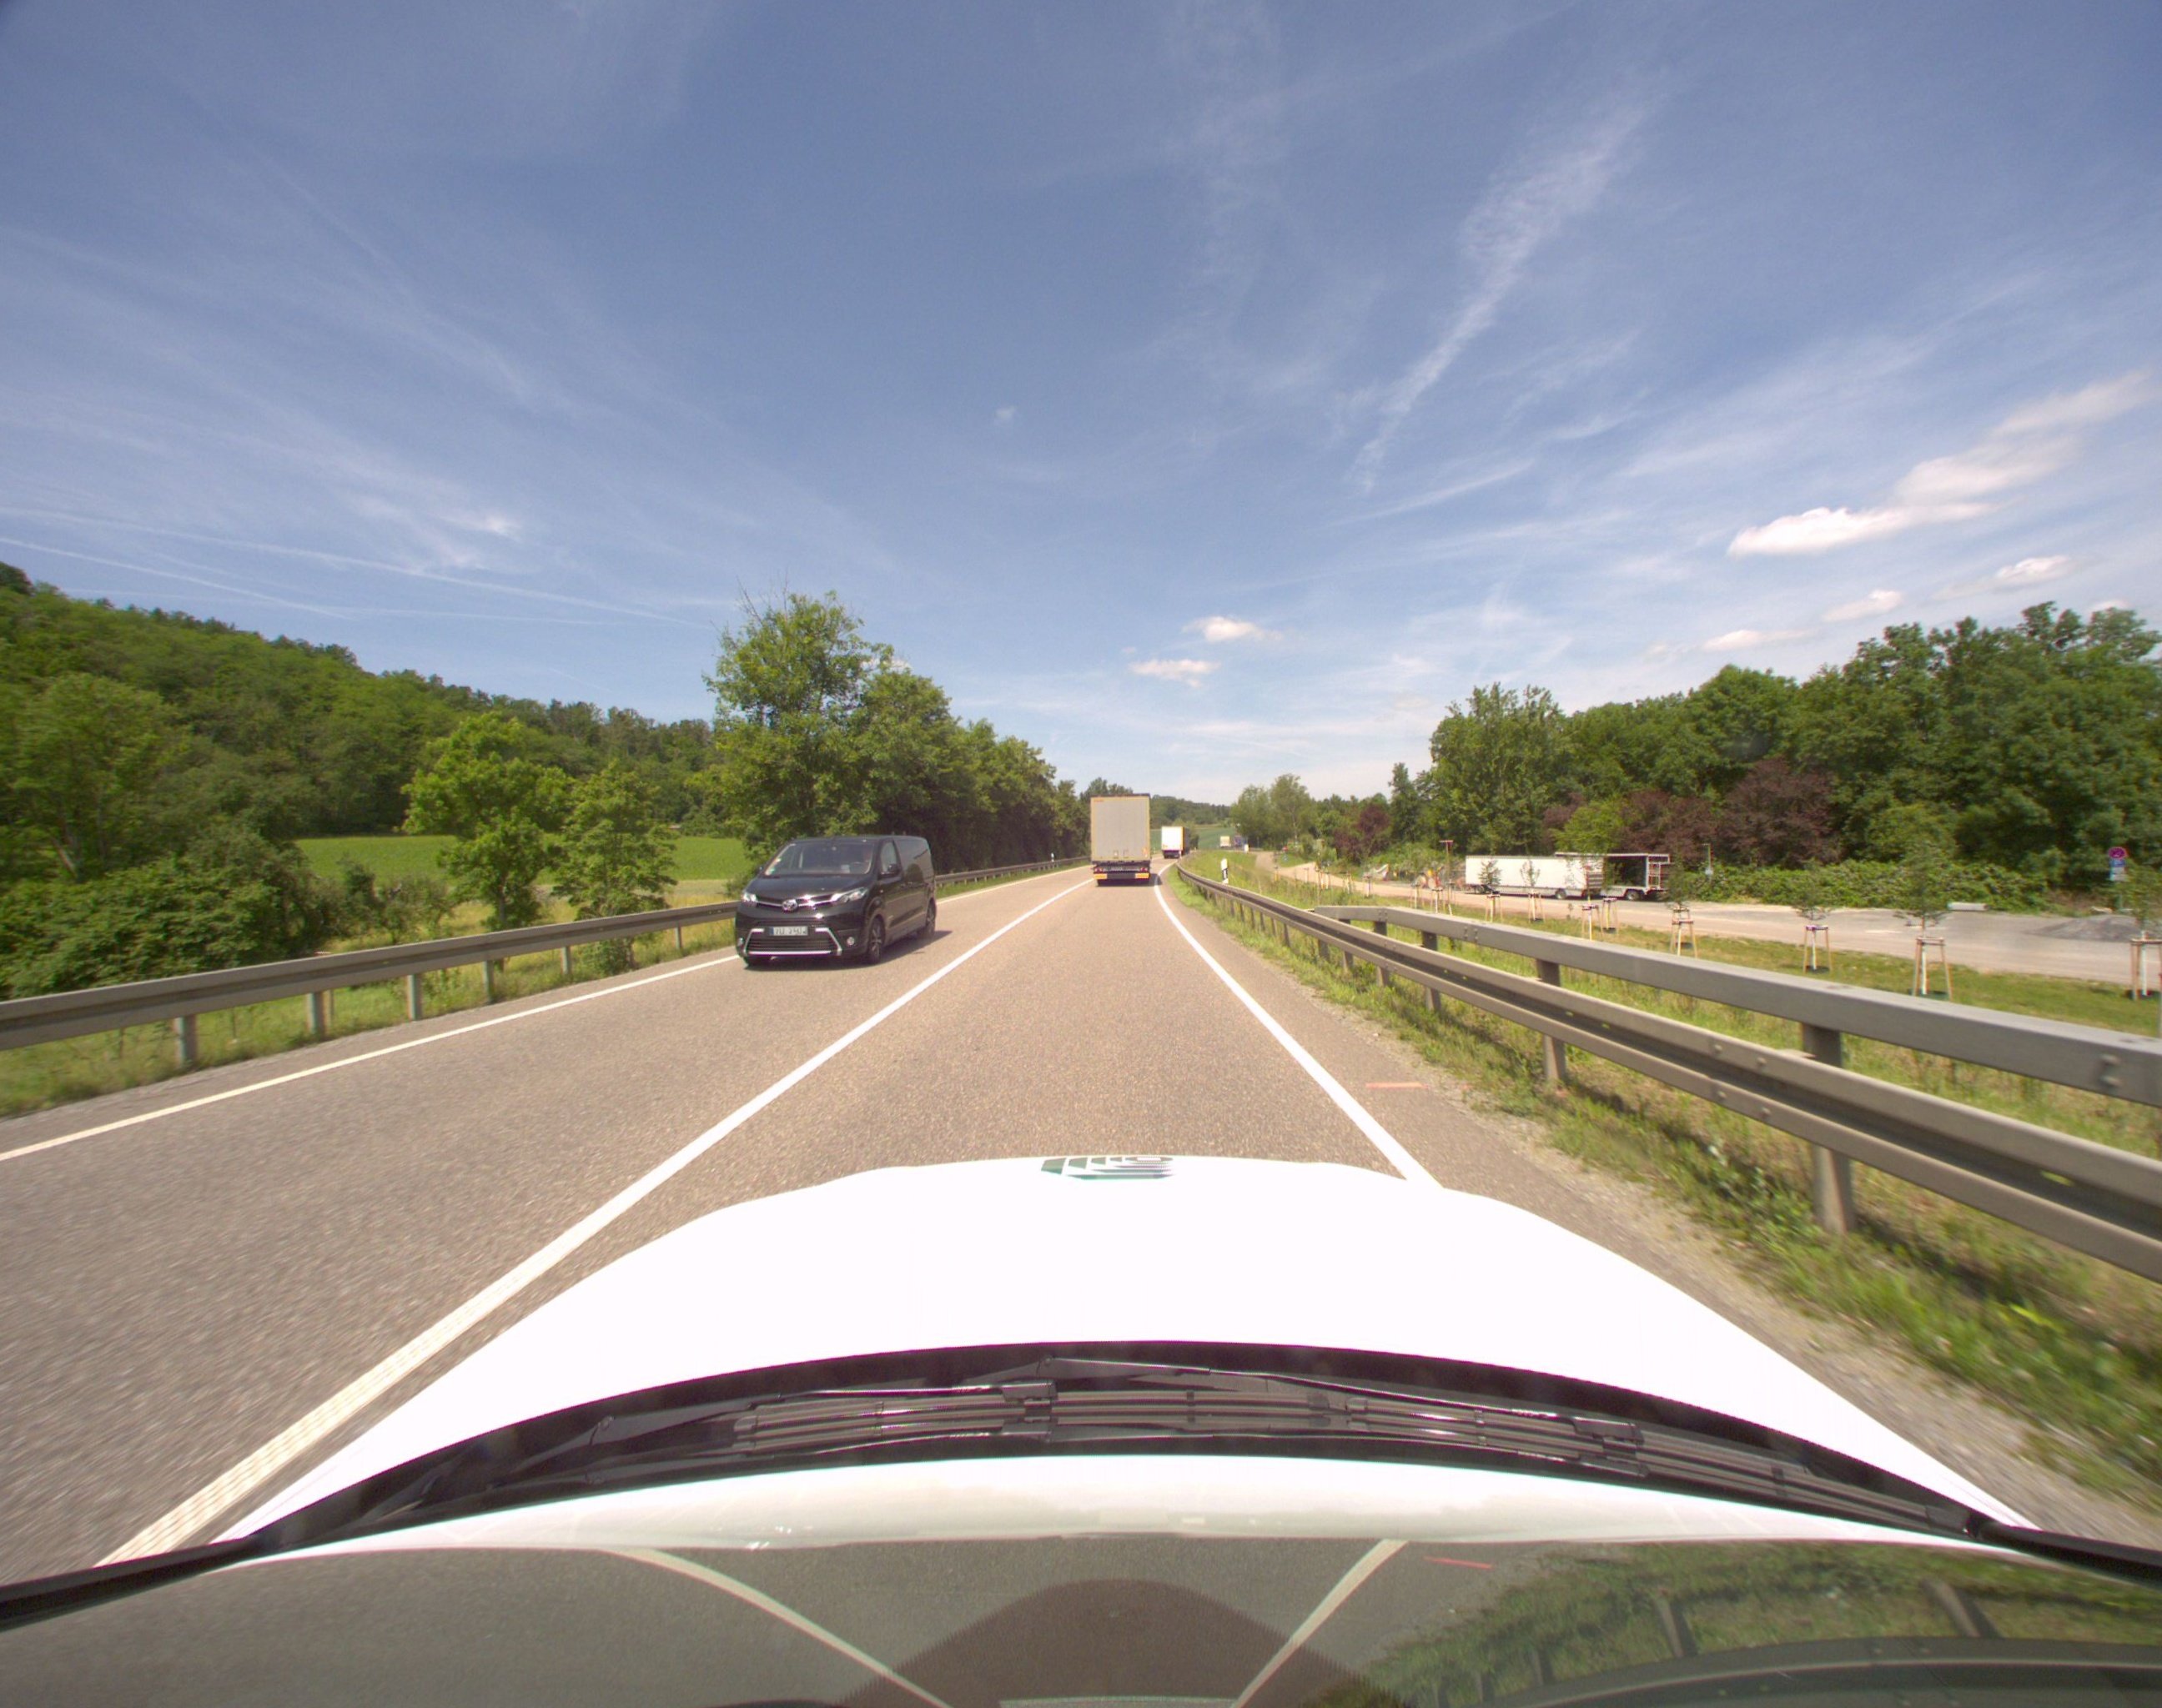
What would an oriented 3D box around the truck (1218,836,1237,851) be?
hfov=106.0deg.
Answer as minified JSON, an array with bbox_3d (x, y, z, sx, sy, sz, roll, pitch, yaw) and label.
[{"bbox_3d":[33.471,-2.356,186.046,3.199,3.365,11.922,-1,0,15],"label":"truck"}]

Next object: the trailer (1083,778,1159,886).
[{"bbox_3d":[2.173,-0.991,41.272,3.104,4.499,13.902,-1,1,4],"label":"trailer"}]

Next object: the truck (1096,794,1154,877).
[{"bbox_3d":[2.685,-1.051,47.939,3.104,4.494,6.820,-1,1,5],"label":"truck"}]

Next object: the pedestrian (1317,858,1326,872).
[{"bbox_3d":[33.140,1.506,112.340,0.881,1.811,0.961,-4,0,4],"label":"pedestrian"}]

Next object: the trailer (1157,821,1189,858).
[{"bbox_3d":[11.991,-1.709,104.782,3.345,4.317,13.900,-1,0,9],"label":"trailer"}]

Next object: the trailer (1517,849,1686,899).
[{"bbox_3d":[40.575,1.398,64.281,2.730,3.606,11.803,0,0,-23],"label":"trailer"}]

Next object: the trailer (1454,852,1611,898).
[{"bbox_3d":[36.306,1.516,66.333,2.732,3.327,11.796,-1,1,-25],"label":"trailer"}]

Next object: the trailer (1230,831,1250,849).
[{"bbox_3d":[40.617,-3.416,207.442,3.619,4.263,12.248,-1,0,17],"label":"trailer"}]

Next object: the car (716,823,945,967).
[{"bbox_3d":[-3.722,0.524,13.268,1.914,1.860,5.179,-1,0,2],"label":"car"}]
